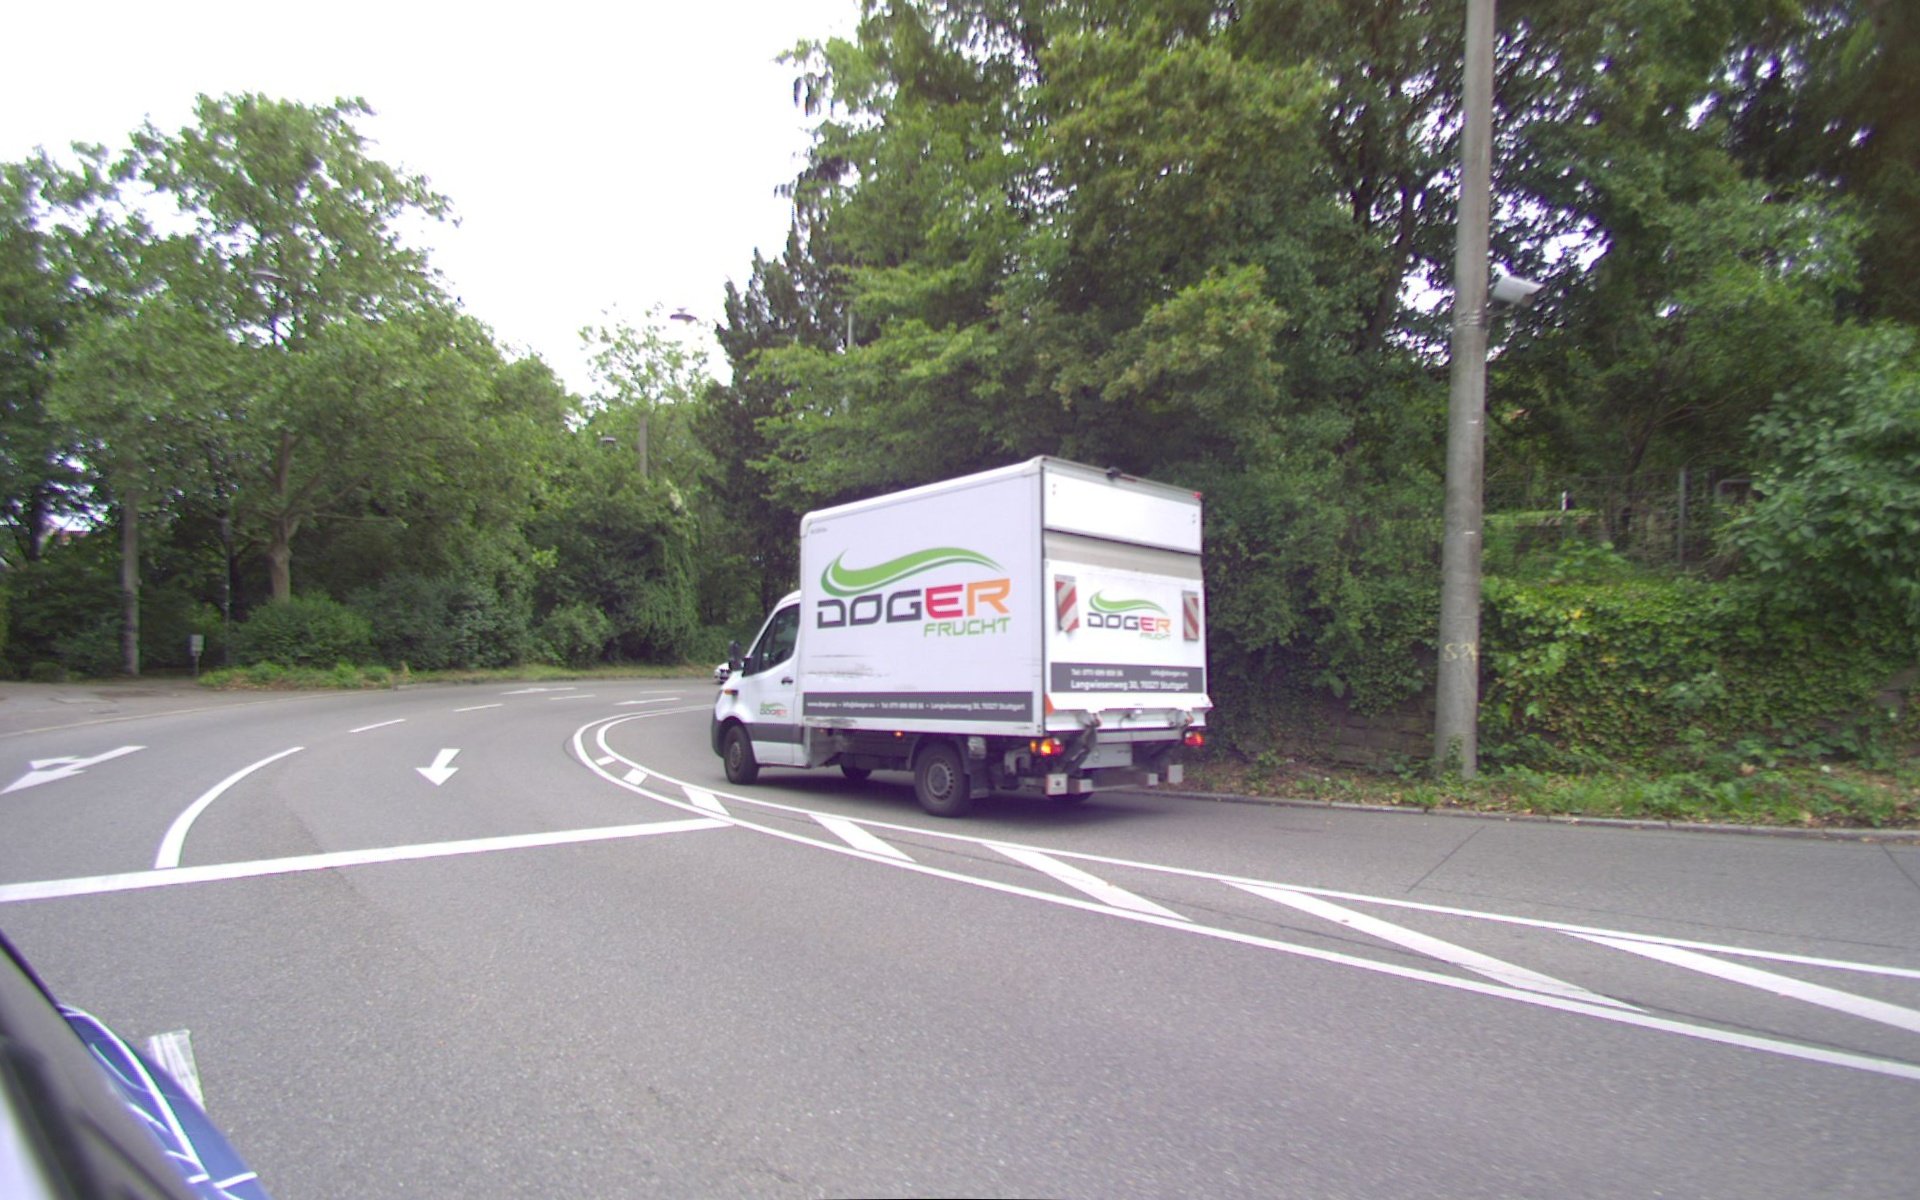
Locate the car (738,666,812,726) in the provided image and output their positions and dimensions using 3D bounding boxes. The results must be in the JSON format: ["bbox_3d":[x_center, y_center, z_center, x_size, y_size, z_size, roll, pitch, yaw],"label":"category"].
[{"bbox_3d":[-5.353,2.807,29.761,1.585,1.586,4.065,3,-5,-3],"label":"car"}]

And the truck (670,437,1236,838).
[{"bbox_3d":[-0.465,0.546,10.974,2.373,3.113,6.349,6,-8,-43],"label":"truck"}]

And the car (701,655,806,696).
[{"bbox_3d":[-9.052,3.353,44.756,1.911,1.563,4.478,4,-2,31],"label":"car"}]
